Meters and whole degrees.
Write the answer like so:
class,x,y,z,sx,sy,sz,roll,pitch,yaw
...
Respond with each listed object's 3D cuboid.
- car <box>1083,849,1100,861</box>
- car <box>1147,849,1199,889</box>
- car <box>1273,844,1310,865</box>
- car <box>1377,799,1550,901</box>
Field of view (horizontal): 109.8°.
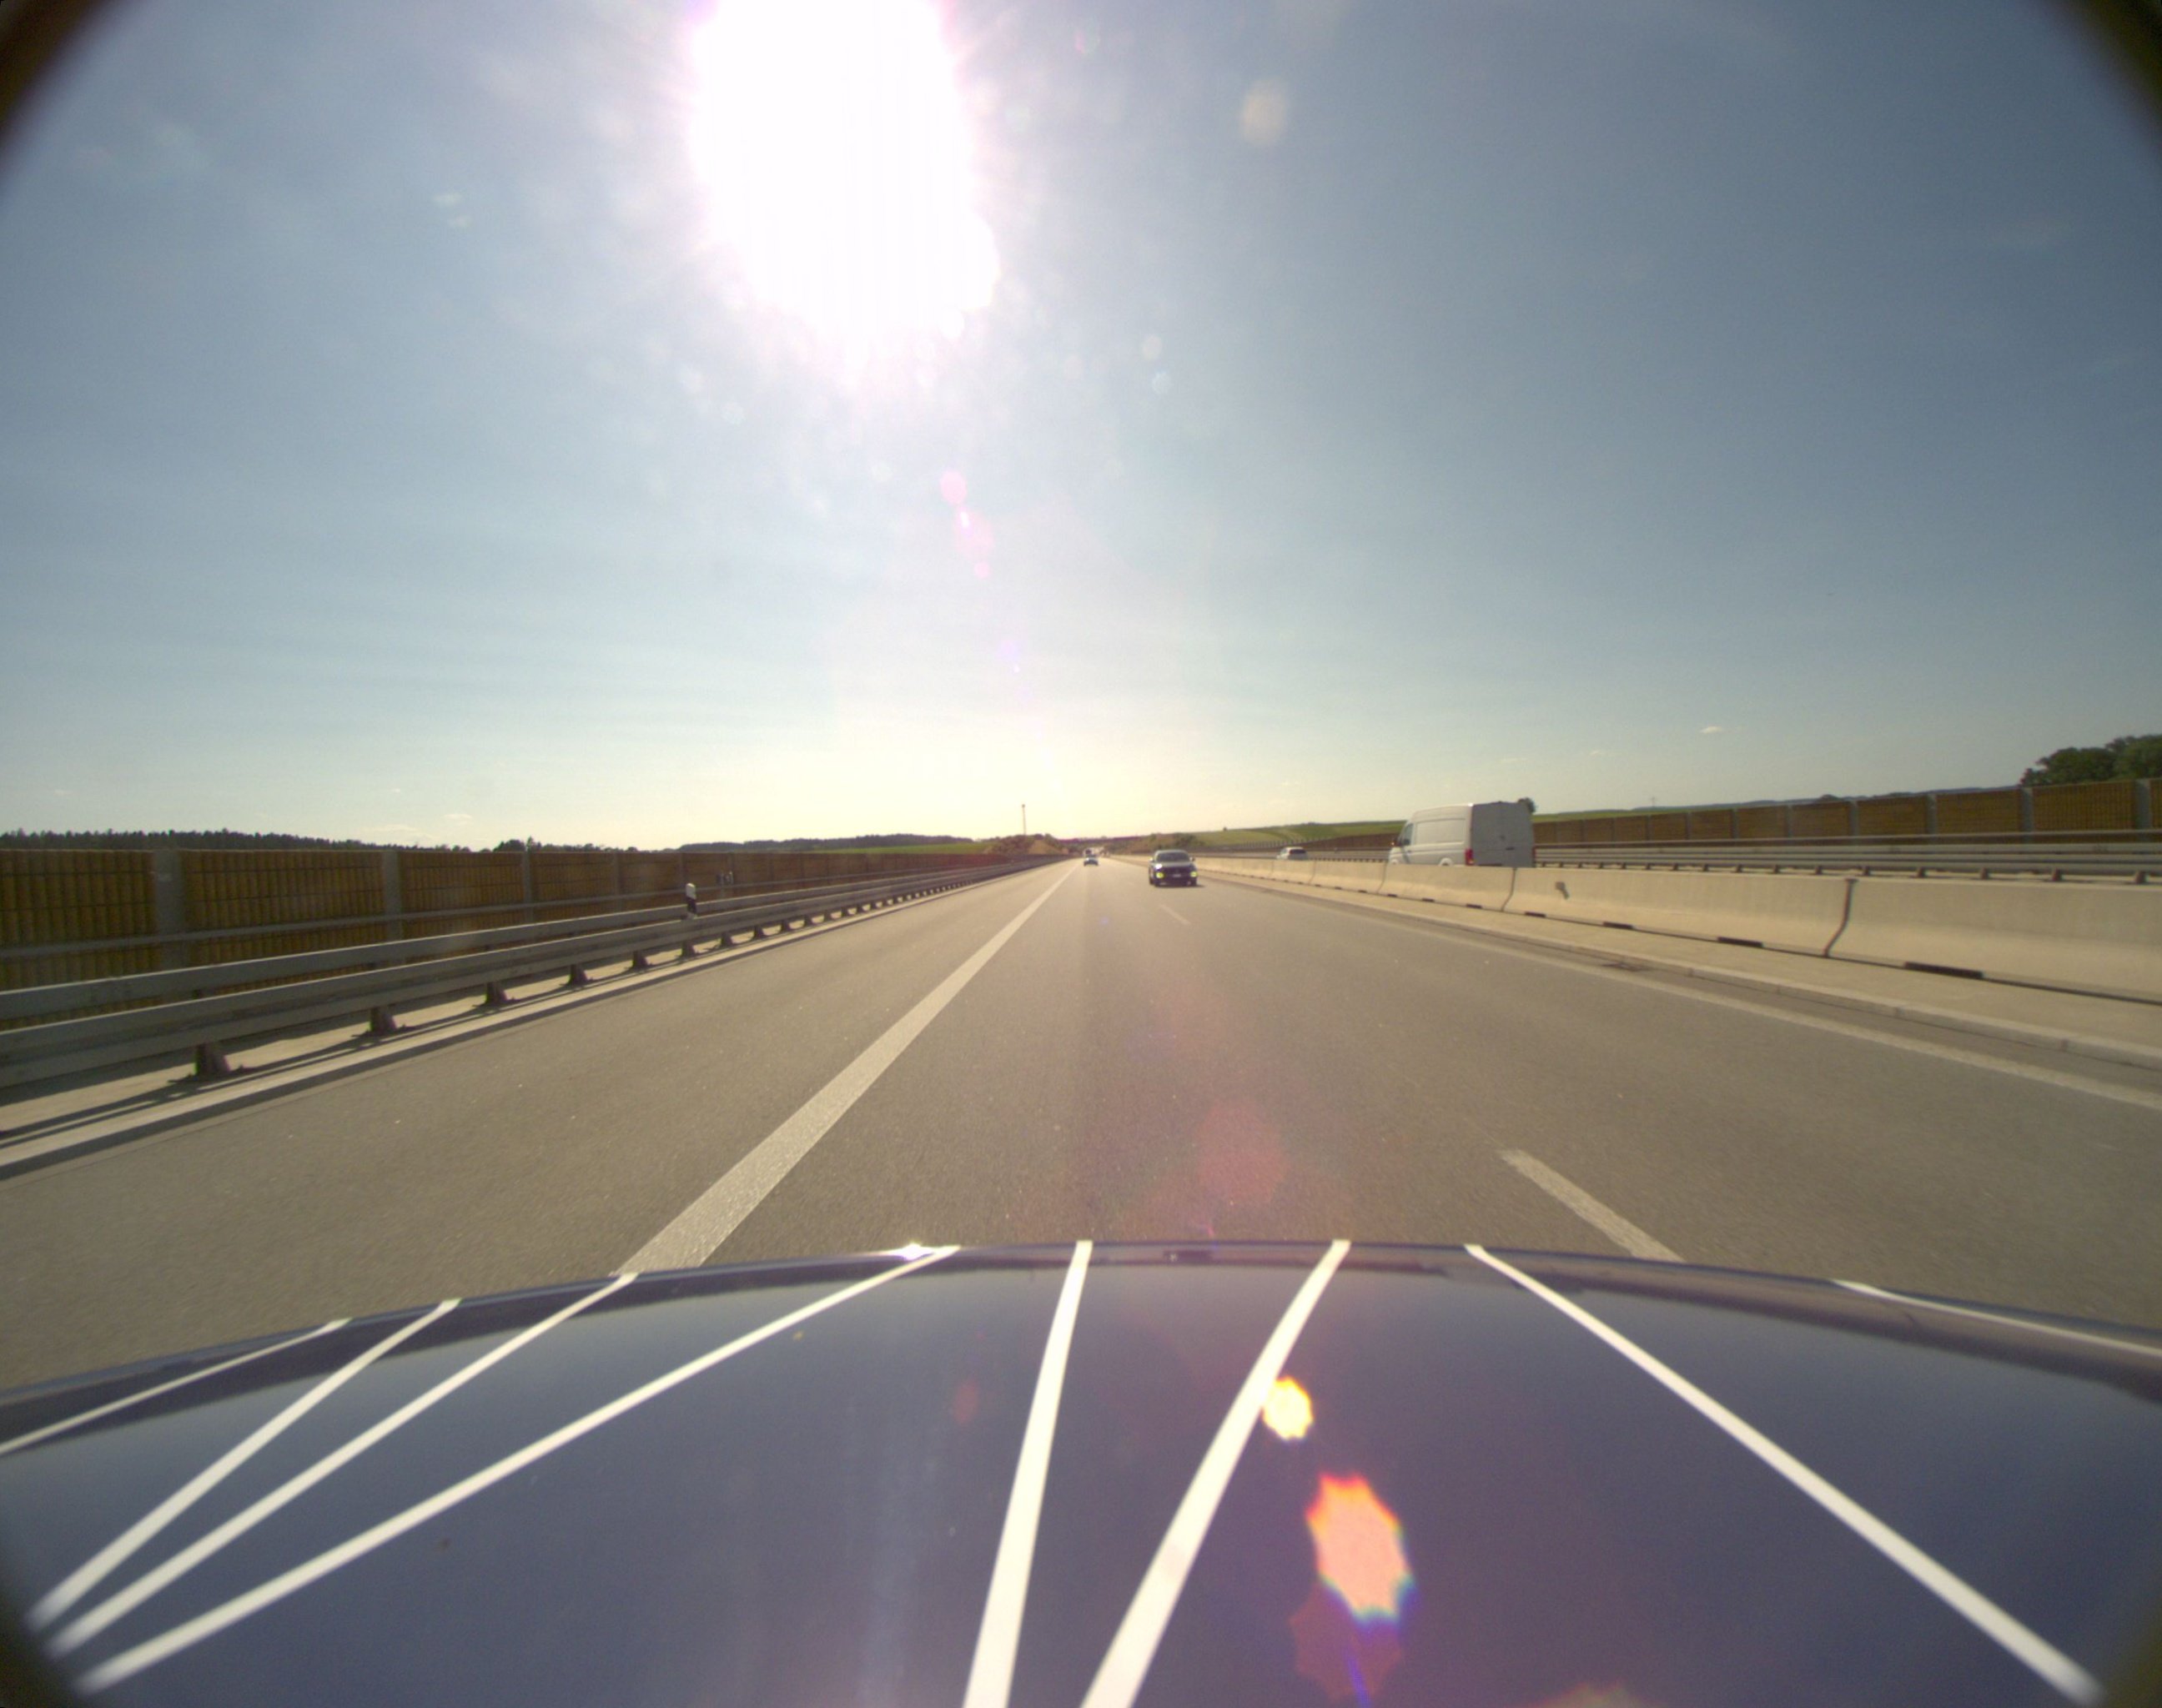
class,x,y,z,sx,sy,sz,roll,pitch,yaw
car,1.364,0.089,95.001,1.909,1.449,4.376,-2,0,2
car,4.013,0.599,33.825,1.776,1.560,4.988,-2,0,1
car,15.974,0.012,57.764,1.651,1.500,4.332,-2,0,1
car,11.535,-0.127,23.643,2.028,2.654,6.486,-2,0,0
